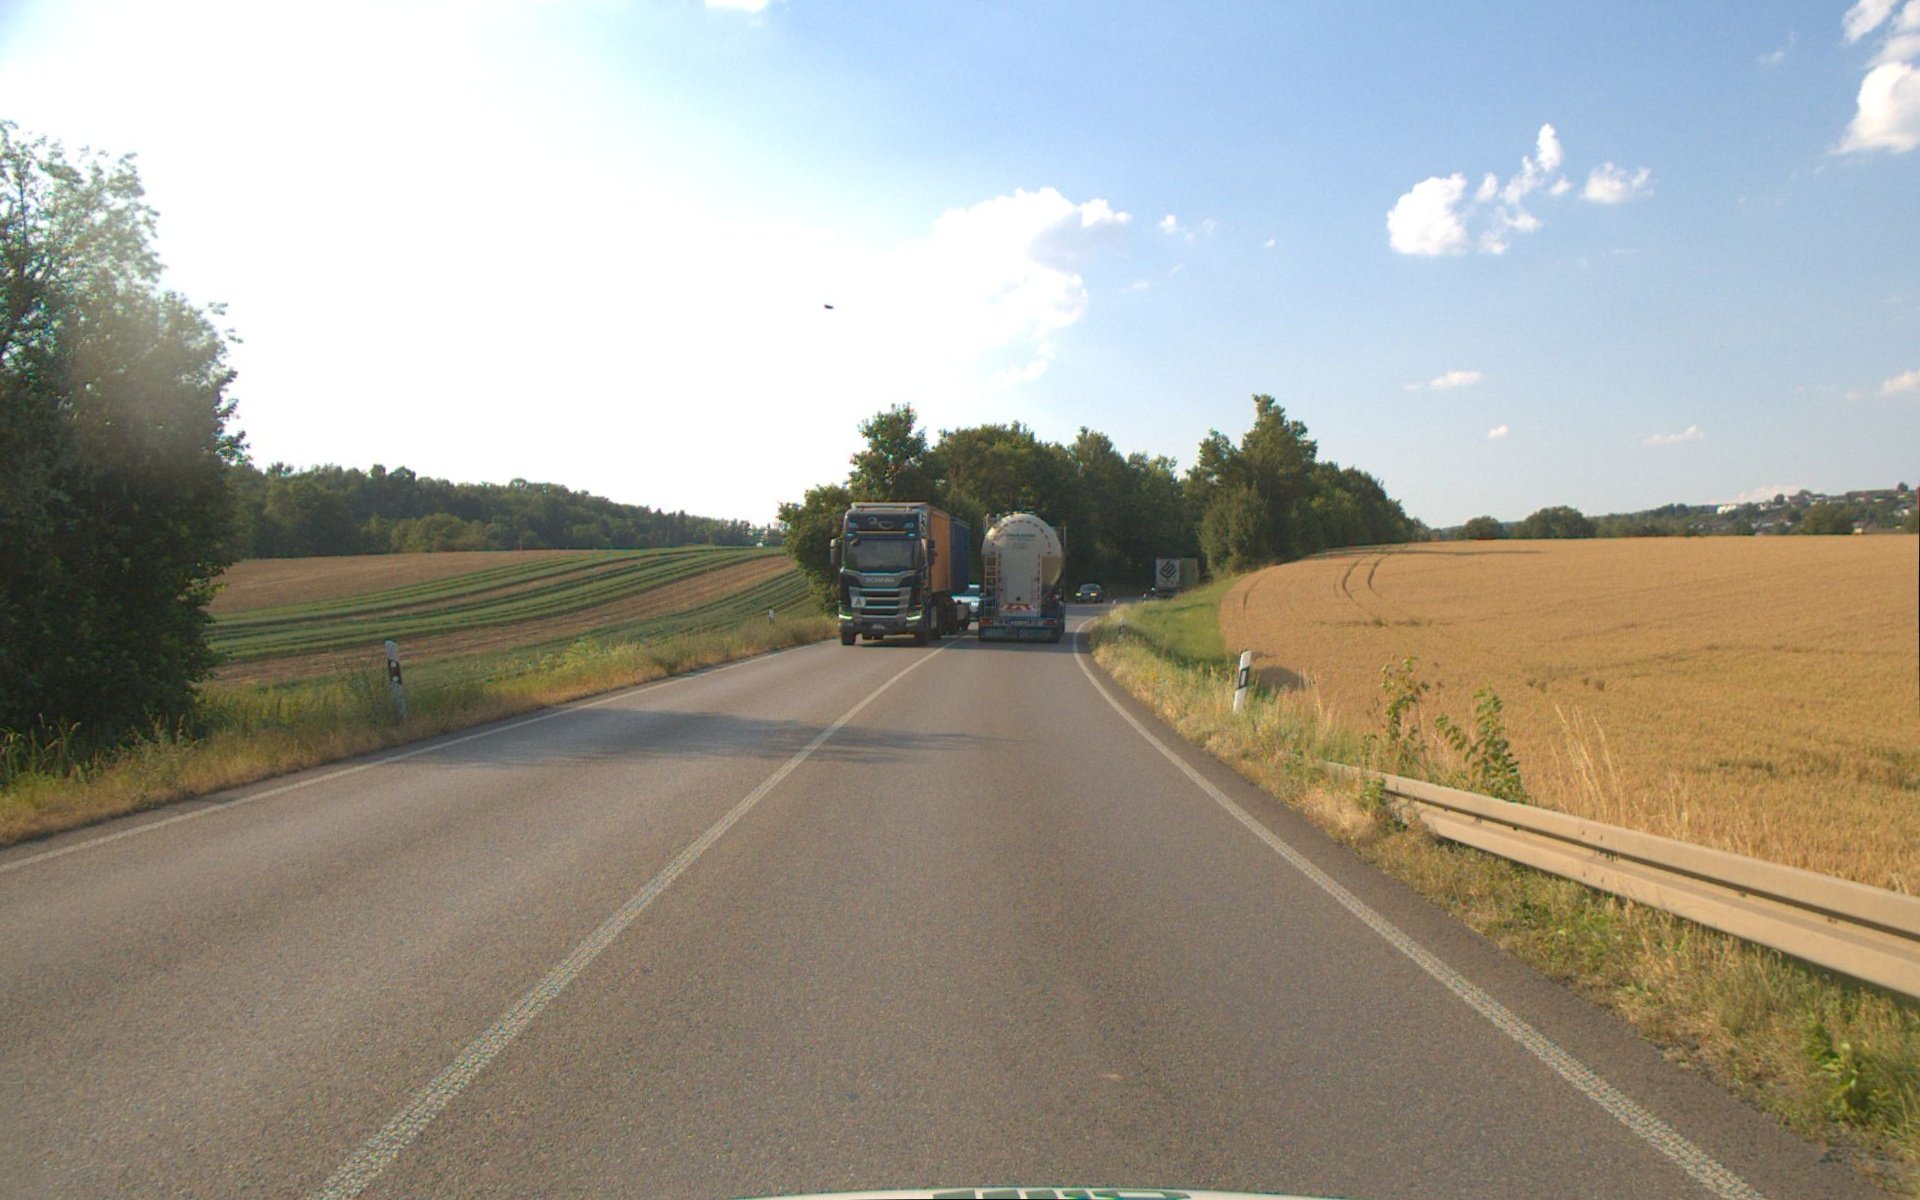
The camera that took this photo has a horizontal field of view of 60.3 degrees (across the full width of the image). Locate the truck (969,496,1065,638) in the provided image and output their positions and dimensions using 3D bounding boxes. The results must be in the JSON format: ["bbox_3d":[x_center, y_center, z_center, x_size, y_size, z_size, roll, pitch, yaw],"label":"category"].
[{"bbox_3d":[2.092,-0.999,55.878,2.832,4.215,13.178,0,0,3],"label":"truck"}]

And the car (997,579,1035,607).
[{"bbox_3d":[3.539,-0.436,103.544,1.933,1.679,4.366,-1,1,8],"label":"car"}]

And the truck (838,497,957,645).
[{"bbox_3d":[-1.714,-0.860,49.962,2.338,3.989,10.166,-1,1,5],"label":"truck"}]

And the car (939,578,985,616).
[{"bbox_3d":[0.122,-0.163,78.528,1.934,1.679,4.364,-1,1,3],"label":"car"}]

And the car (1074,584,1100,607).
[{"bbox_3d":[10.900,-0.403,141.451,1.860,1.802,4.496,-1,1,9],"label":"car"}]

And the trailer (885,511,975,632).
[{"bbox_3d":[-0.949,-1.023,59.505,2.314,3.989,8.967,-1,1,5],"label":"trailer"}]

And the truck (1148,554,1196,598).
[{"bbox_3d":[21.742,-2.474,168.602,3.116,4.301,13.183,-1,1,15],"label":"truck"}]
